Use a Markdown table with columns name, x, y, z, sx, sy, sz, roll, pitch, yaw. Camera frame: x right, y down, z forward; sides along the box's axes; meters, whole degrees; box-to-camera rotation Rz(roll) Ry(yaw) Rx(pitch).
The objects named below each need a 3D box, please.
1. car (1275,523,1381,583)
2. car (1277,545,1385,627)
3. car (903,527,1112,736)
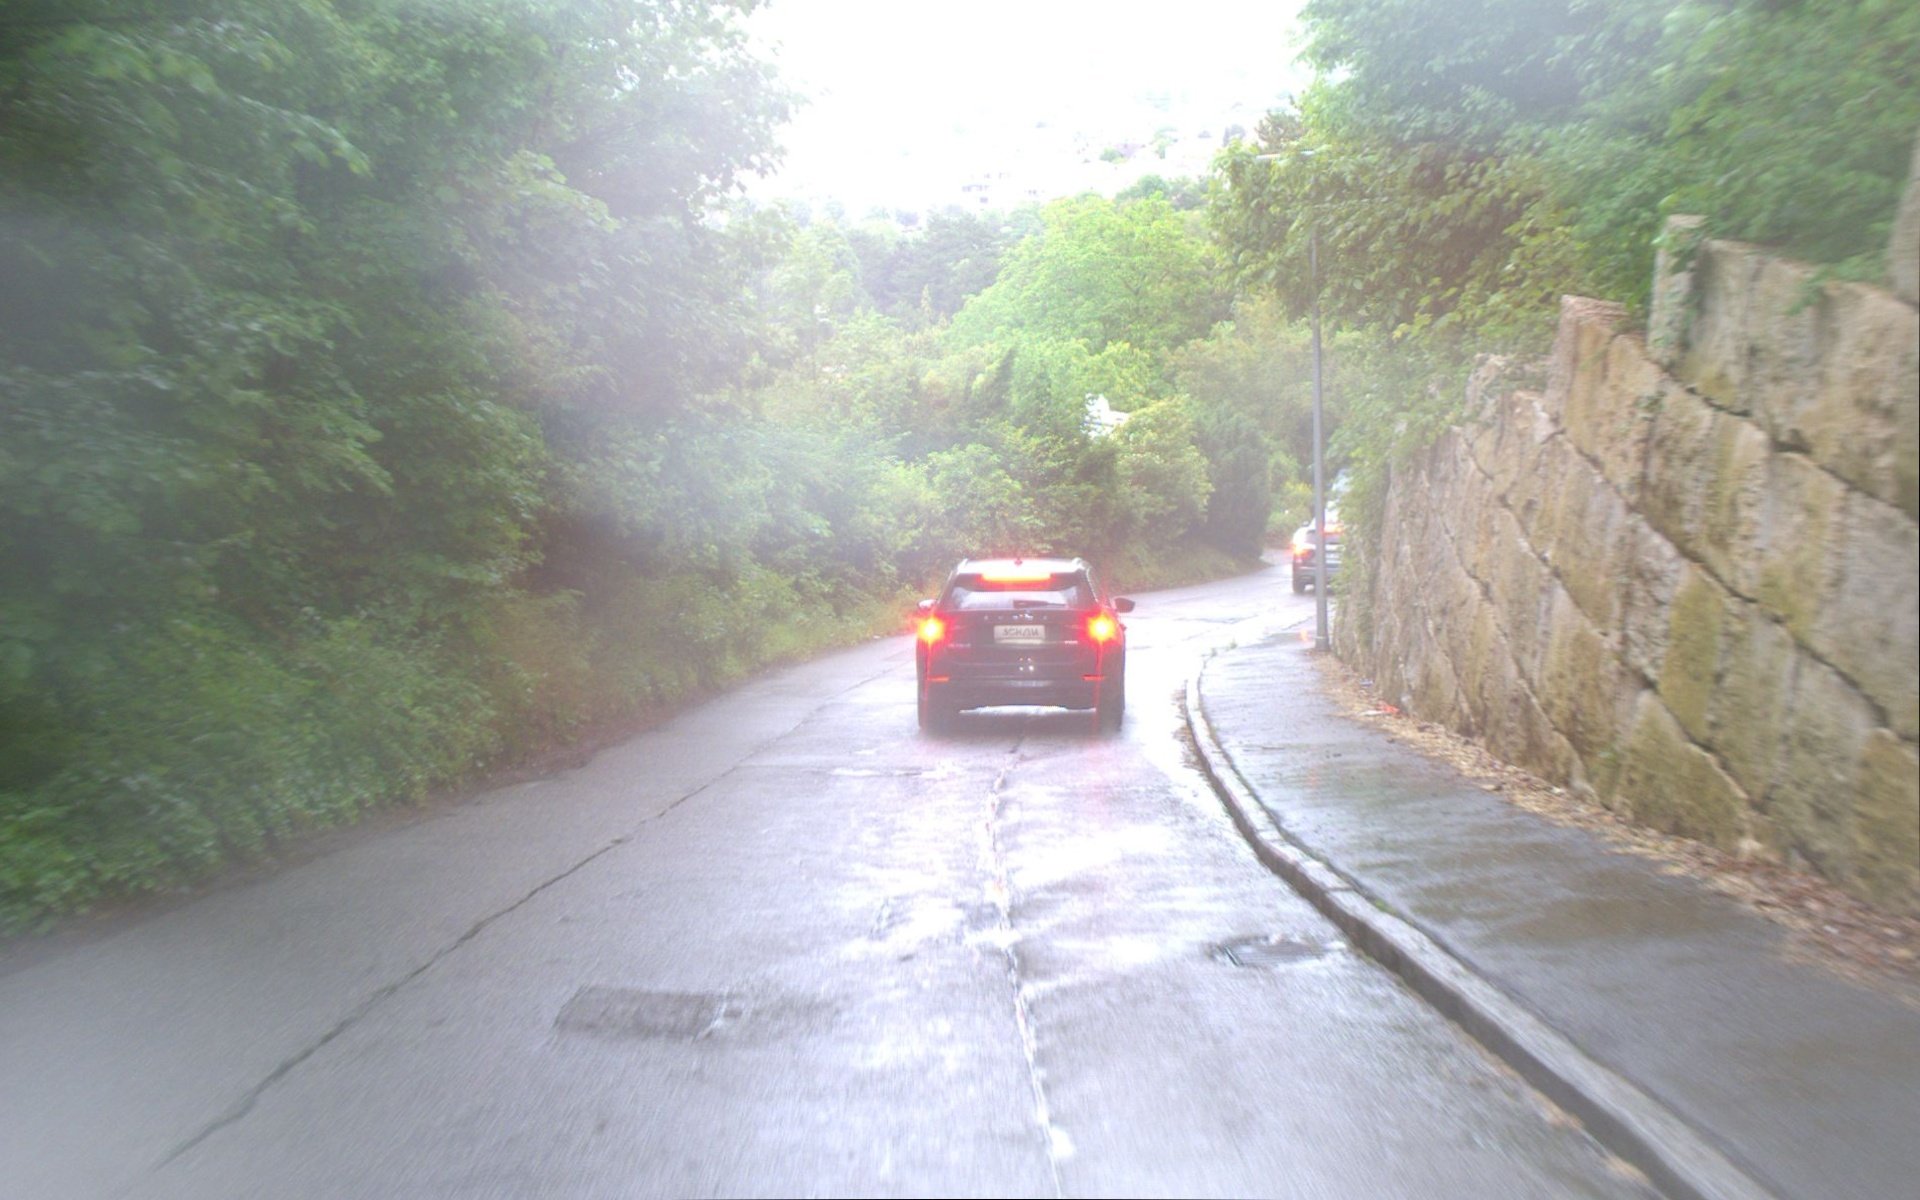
| name | x | y | z | sx | sy | sz | roll | pitch | yaw |
| --- | --- | --- | --- | --- | --- | --- | --- | --- | --- |
| car | 9.802 | -1.253 | 91.371 | 1.942 | 1.517 | 4.575 | 1 | 1 | 17 |
| car | 8.266 | -0.338 | 76.340 | 1.864 | 1.737 | 3.998 | 1 | 1 | 13 |
| car | 0.447 | 0.220 | 30.383 | 1.699 | 1.445 | 4.001 | -1 | 5 | 2 |
